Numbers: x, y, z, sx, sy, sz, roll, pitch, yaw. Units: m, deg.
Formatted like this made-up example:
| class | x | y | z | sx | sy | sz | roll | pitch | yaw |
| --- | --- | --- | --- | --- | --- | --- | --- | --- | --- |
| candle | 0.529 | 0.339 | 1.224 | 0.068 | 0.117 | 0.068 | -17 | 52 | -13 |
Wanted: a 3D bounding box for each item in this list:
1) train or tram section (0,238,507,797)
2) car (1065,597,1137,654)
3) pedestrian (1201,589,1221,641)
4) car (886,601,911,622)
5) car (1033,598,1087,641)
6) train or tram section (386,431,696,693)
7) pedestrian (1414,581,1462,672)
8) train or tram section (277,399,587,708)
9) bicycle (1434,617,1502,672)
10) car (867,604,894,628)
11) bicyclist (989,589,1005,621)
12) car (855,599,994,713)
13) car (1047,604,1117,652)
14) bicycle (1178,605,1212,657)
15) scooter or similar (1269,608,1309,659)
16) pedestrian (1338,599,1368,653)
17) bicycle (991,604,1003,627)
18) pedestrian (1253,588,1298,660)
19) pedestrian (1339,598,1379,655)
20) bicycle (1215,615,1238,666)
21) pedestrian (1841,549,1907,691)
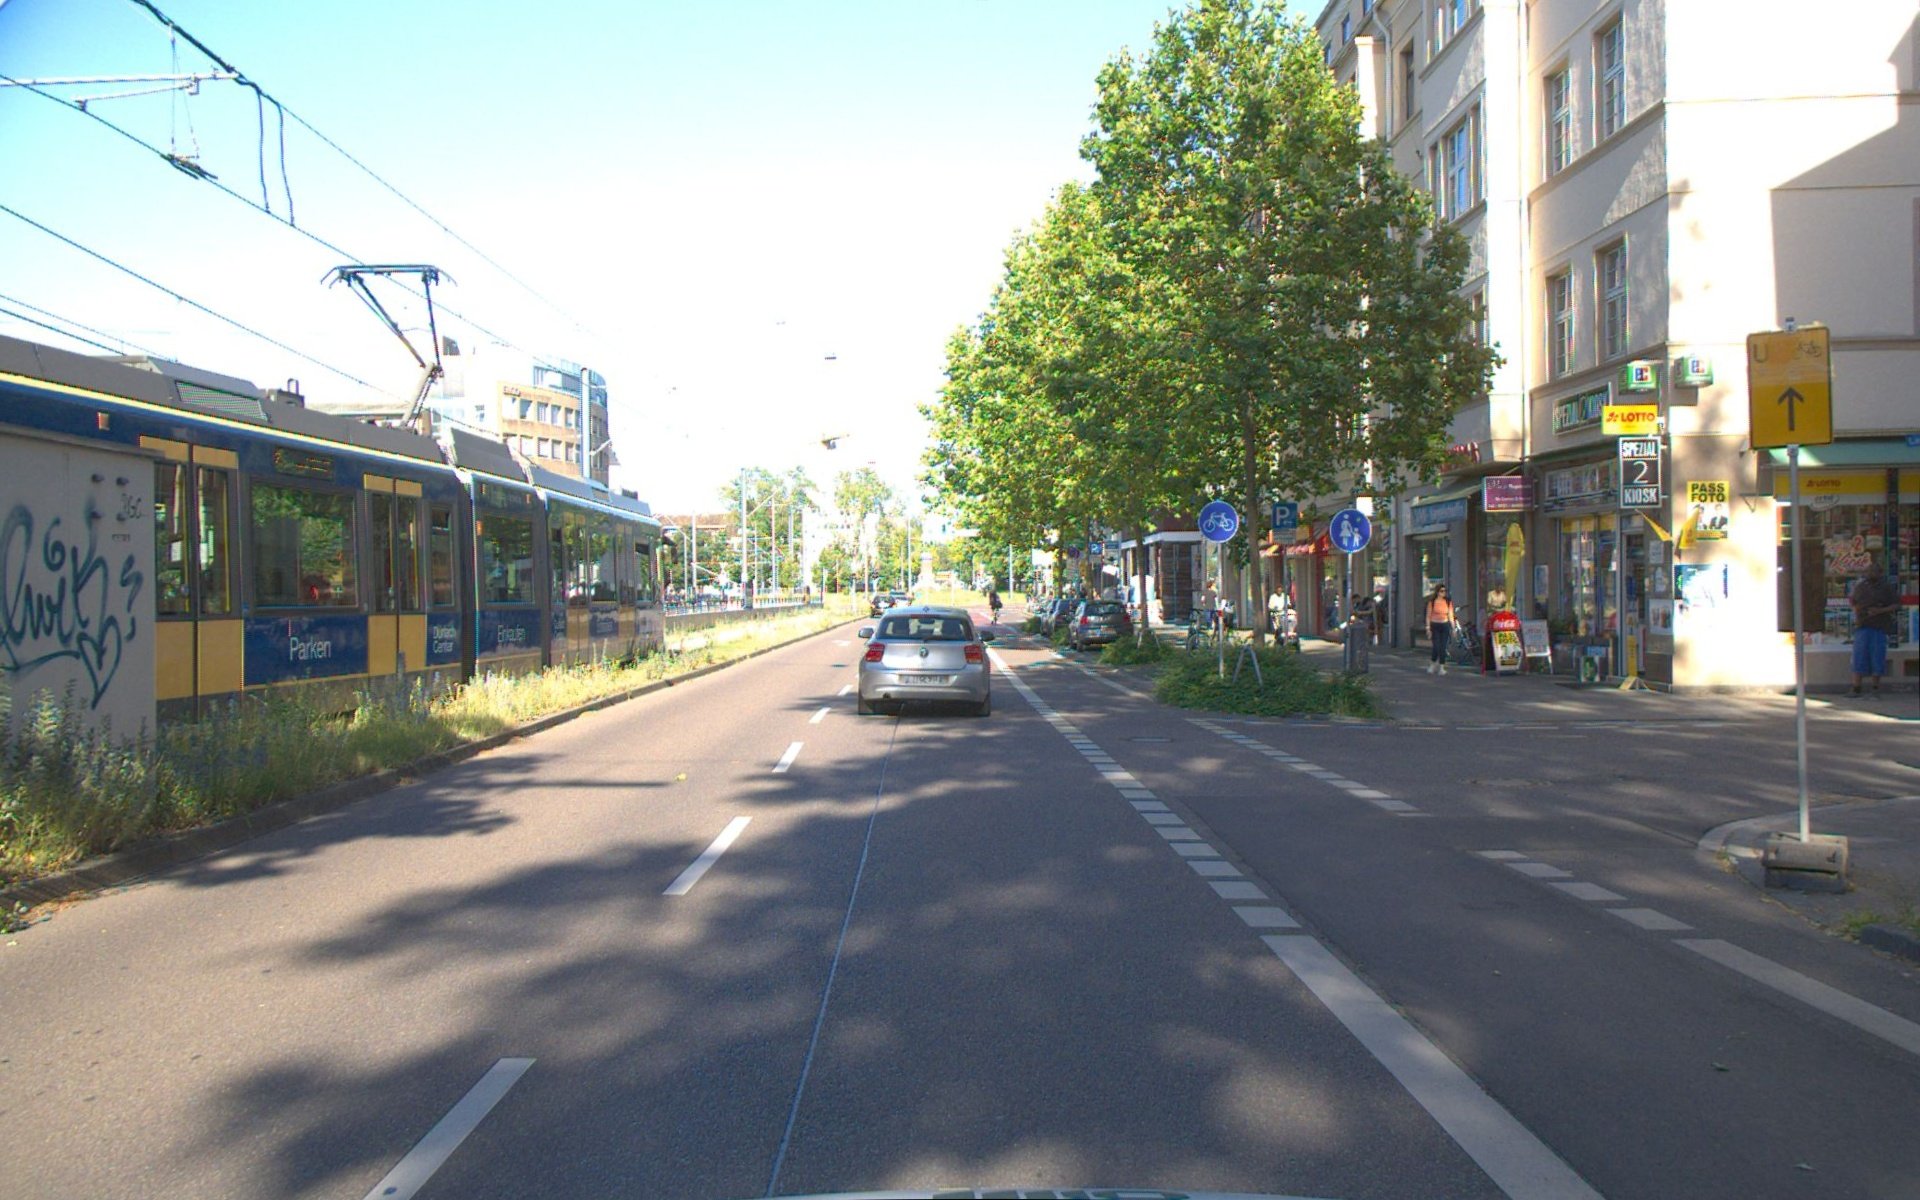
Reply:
| class | x | y | z | sx | sy | sz | roll | pitch | yaw |
| --- | --- | --- | --- | --- | --- | --- | --- | --- | --- |
| train or tram section | -7.879 | -0.562 | 14.282 | 2.867 | 3.879 | 14.280 | 1 | 0 | 5 |
| car | 4.121 | 0.728 | 48.847 | 1.660 | 1.528 | 3.800 | -3 | 0 | -1 |
| pedestrian | 8.544 | 0.496 | 56.316 | 0.546 | 1.741 | 0.770 | -1 | 0 | -1 |
| car | -4.161 | 0.786 | 112.644 | 1.611 | 1.446 | 3.999 | 0 | -1 | -1 |
| car | 3.837 | 0.715 | 64.125 | 1.753 | 1.582 | 4.435 | -1 | 0 | -1 |
| train or tram section | -7.284 | -0.537 | 30.771 | 2.892 | 3.965 | 10.802 | 1 | -1 | 0 |
| pedestrian | 8.732 | 0.486 | 30.226 | 0.668 | 1.650 | 0.562 | 0 | -1 | -3 |
| train or tram section | -7.280 | -0.598 | 23.362 | 2.893 | 3.965 | 3.867 | 1 | -1 | 3 |
| bicycle | 10.161 | 0.870 | 33.184 | 0.480 | 1.042 | 2.622 | -2 | 0 | -1 |
| car | -5.025 | 0.989 | 104.457 | 1.692 | 1.496 | 4.407 | 0 | 0 | -3 |
| bicyclist | 1.862 | 0.246 | 83.118 | 0.769 | 1.558 | 0.895 | 1 | -1 | -1 |
| car | -0.507 | 0.720 | 22.888 | 1.762 | 1.440 | 3.998 | 0 | 0 | -2 |
| car | 4.114 | 0.922 | 56.596 | 1.997 | 1.535 | 4.593 | -1 | 0 | -1 |
| bicycle | 5.755 | 0.765 | 40.621 | 0.384 | 1.236 | 1.901 | -2 | -2 | -4 |
| scooter or similar | 7.876 | 0.793 | 39.590 | 0.729 | 1.192 | 0.848 | -1 | -1 | -4 |
| pedestrian | 10.050 | 0.668 | 42.304 | 0.524 | 1.356 | 0.820 | -2 | -1 | 0 |
| bicycle | 1.860 | 0.780 | 82.974 | 0.489 | 1.107 | 1.997 | 1 | -1 | -1 |
| pedestrian | 7.745 | 0.580 | 40.614 | 0.842 | 1.734 | 0.916 | -2 | -1 | -3 |
| pedestrian | 9.986 | 0.661 | 41.420 | 0.769 | 1.393 | 0.856 | -1 | -1 | 0 |
| bicycle | 6.584 | 0.981 | 40.799 | 0.377 | 1.228 | 1.874 | 0 | 0 | 15 |
| pedestrian | 12.609 | 0.277 | 22.833 | 0.541 | 1.937 | 0.586 | 1 | -1 | -12 |
